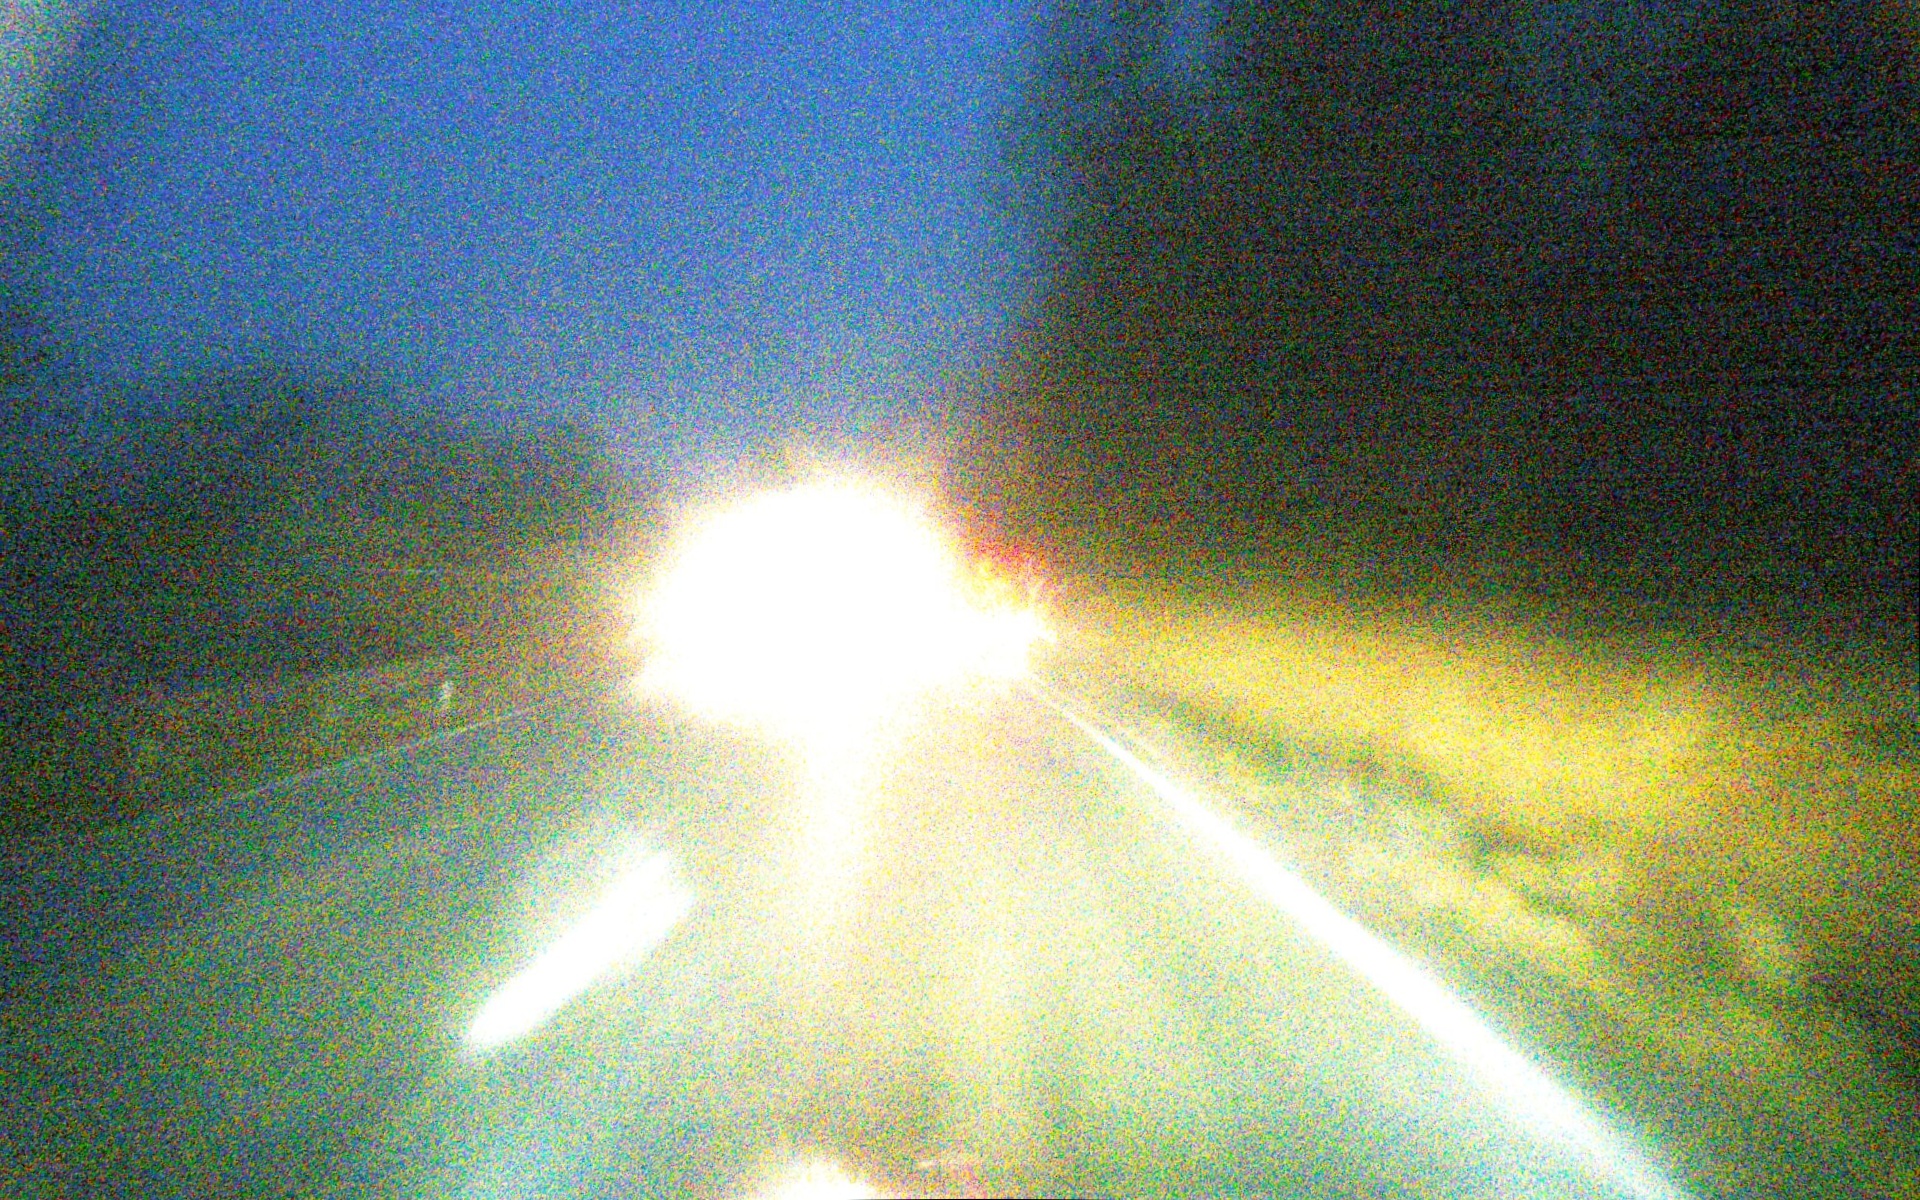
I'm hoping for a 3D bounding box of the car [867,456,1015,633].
[{"bbox_3d":[-0.378,-0.922,27.694,2.137,2.601,4.506,3,2,-2],"label":"car"}]

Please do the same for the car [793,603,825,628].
[{"bbox_3d":[-9.371,0.963,102.987,1.807,1.531,3.707,1,-1,-3],"label":"car"}]
